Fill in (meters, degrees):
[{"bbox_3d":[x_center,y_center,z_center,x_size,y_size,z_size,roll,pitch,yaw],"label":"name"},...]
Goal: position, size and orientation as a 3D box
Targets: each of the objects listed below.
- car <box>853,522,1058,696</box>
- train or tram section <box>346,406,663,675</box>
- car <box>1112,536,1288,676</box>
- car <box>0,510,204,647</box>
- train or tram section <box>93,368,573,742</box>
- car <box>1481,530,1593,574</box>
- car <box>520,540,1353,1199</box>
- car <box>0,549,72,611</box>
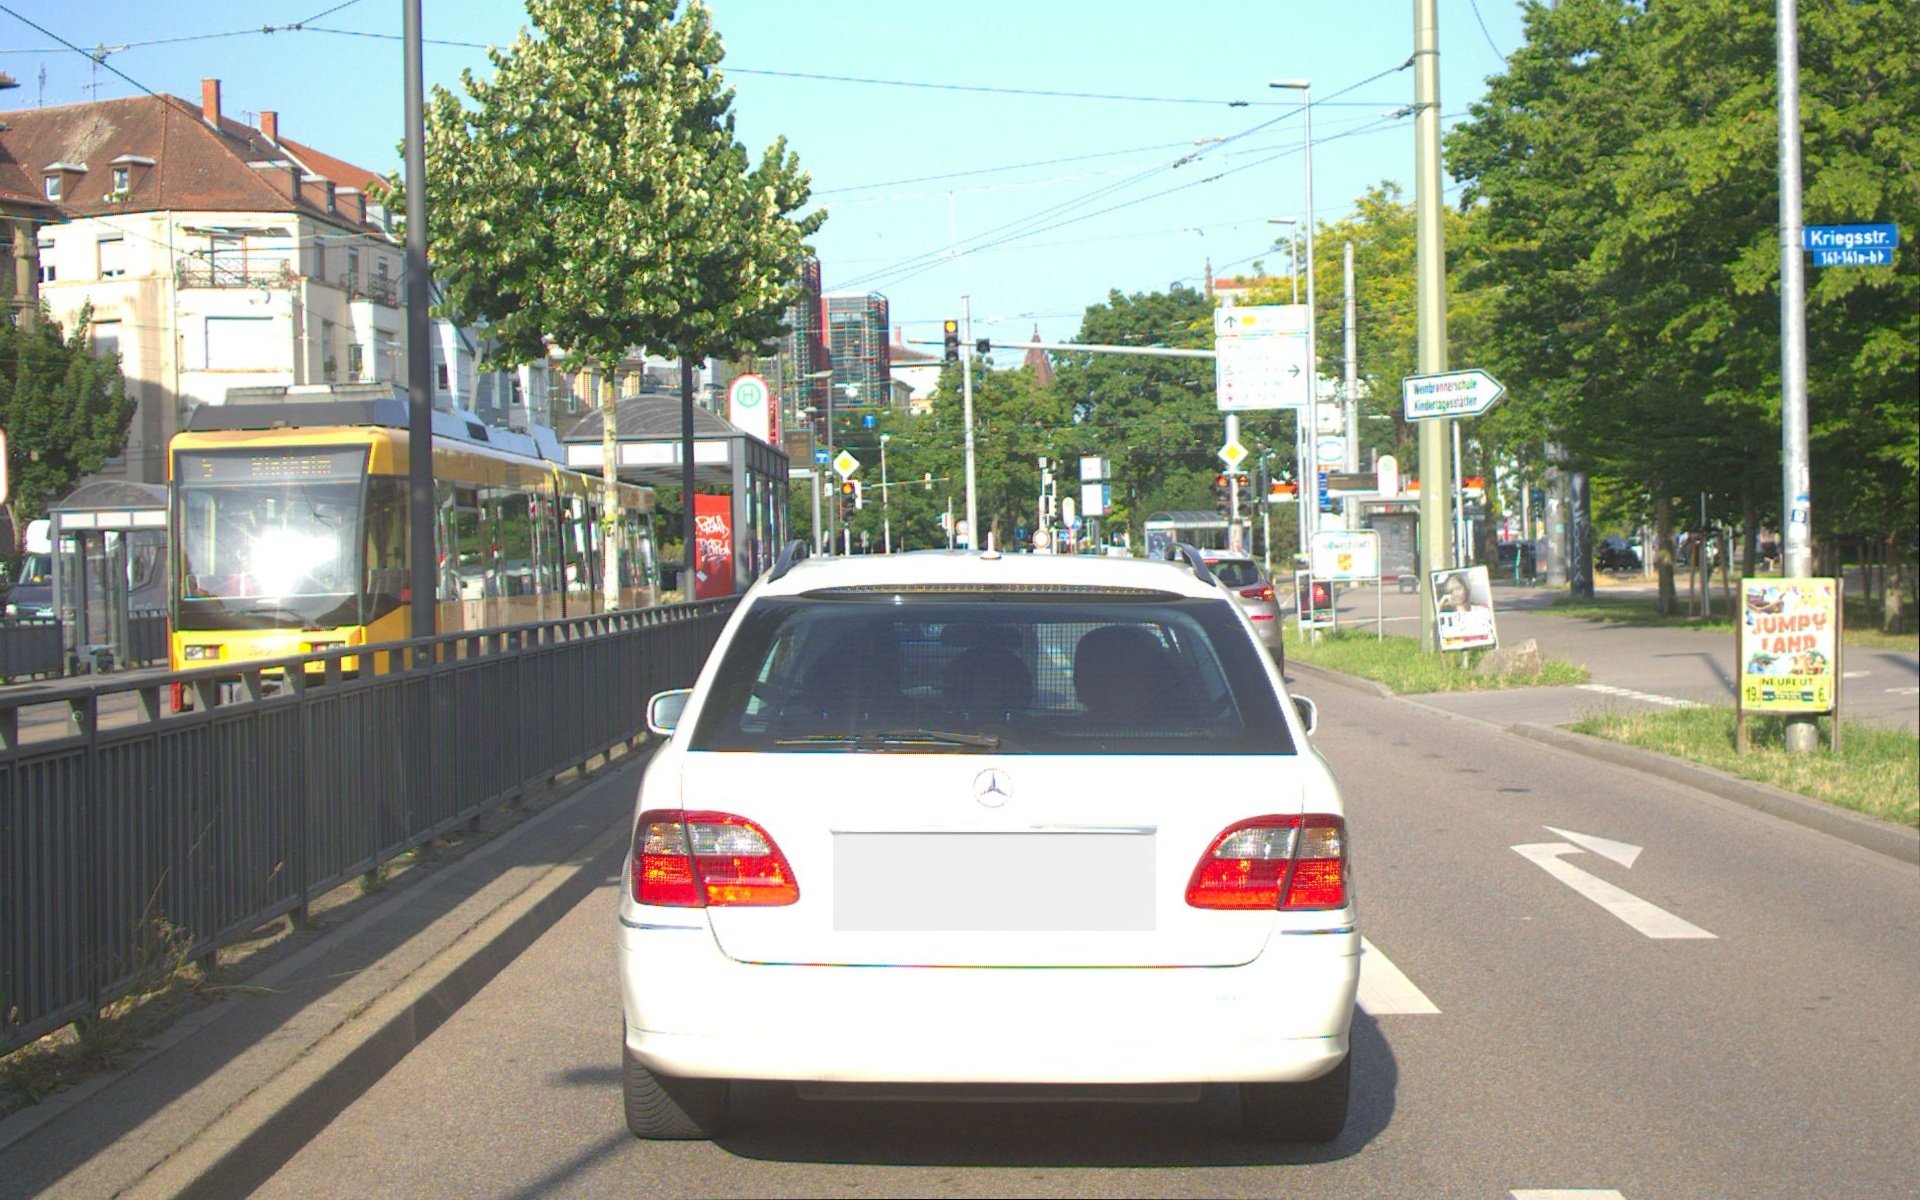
[{"bbox_3d":[0.011,0.050,35.763,1.787,1.684,4.000,-1,1,5],"label":"car"},{"bbox_3d":[-6.503,-0.902,51.360,2.849,3.467,13.200,-1,1,0],"label":"train or tram section"},{"bbox_3d":[2.944,0.037,42.042,2.033,1.600,4.000,-1,1,4],"label":"car"},{"bbox_3d":[-18.151,-0.503,72.867,2.596,2.726,7.469,-1,1,0],"label":"car"},{"bbox_3d":[-6.550,-0.563,38.447,2.849,3.467,13.200,0,1,0],"label":"train or tram section"},{"bbox_3d":[23.079,-1.912,137.500,3.992,1.645,1.997,-1,1,26],"label":"car"},{"bbox_3d":[0.005,0.617,9.465,1.758,1.498,4.000,-2,1,2],"label":"car"},{"bbox_3d":[-26.657,-0.539,93.880,2.206,1.622,4.711,0,1,24],"label":"car"}]
